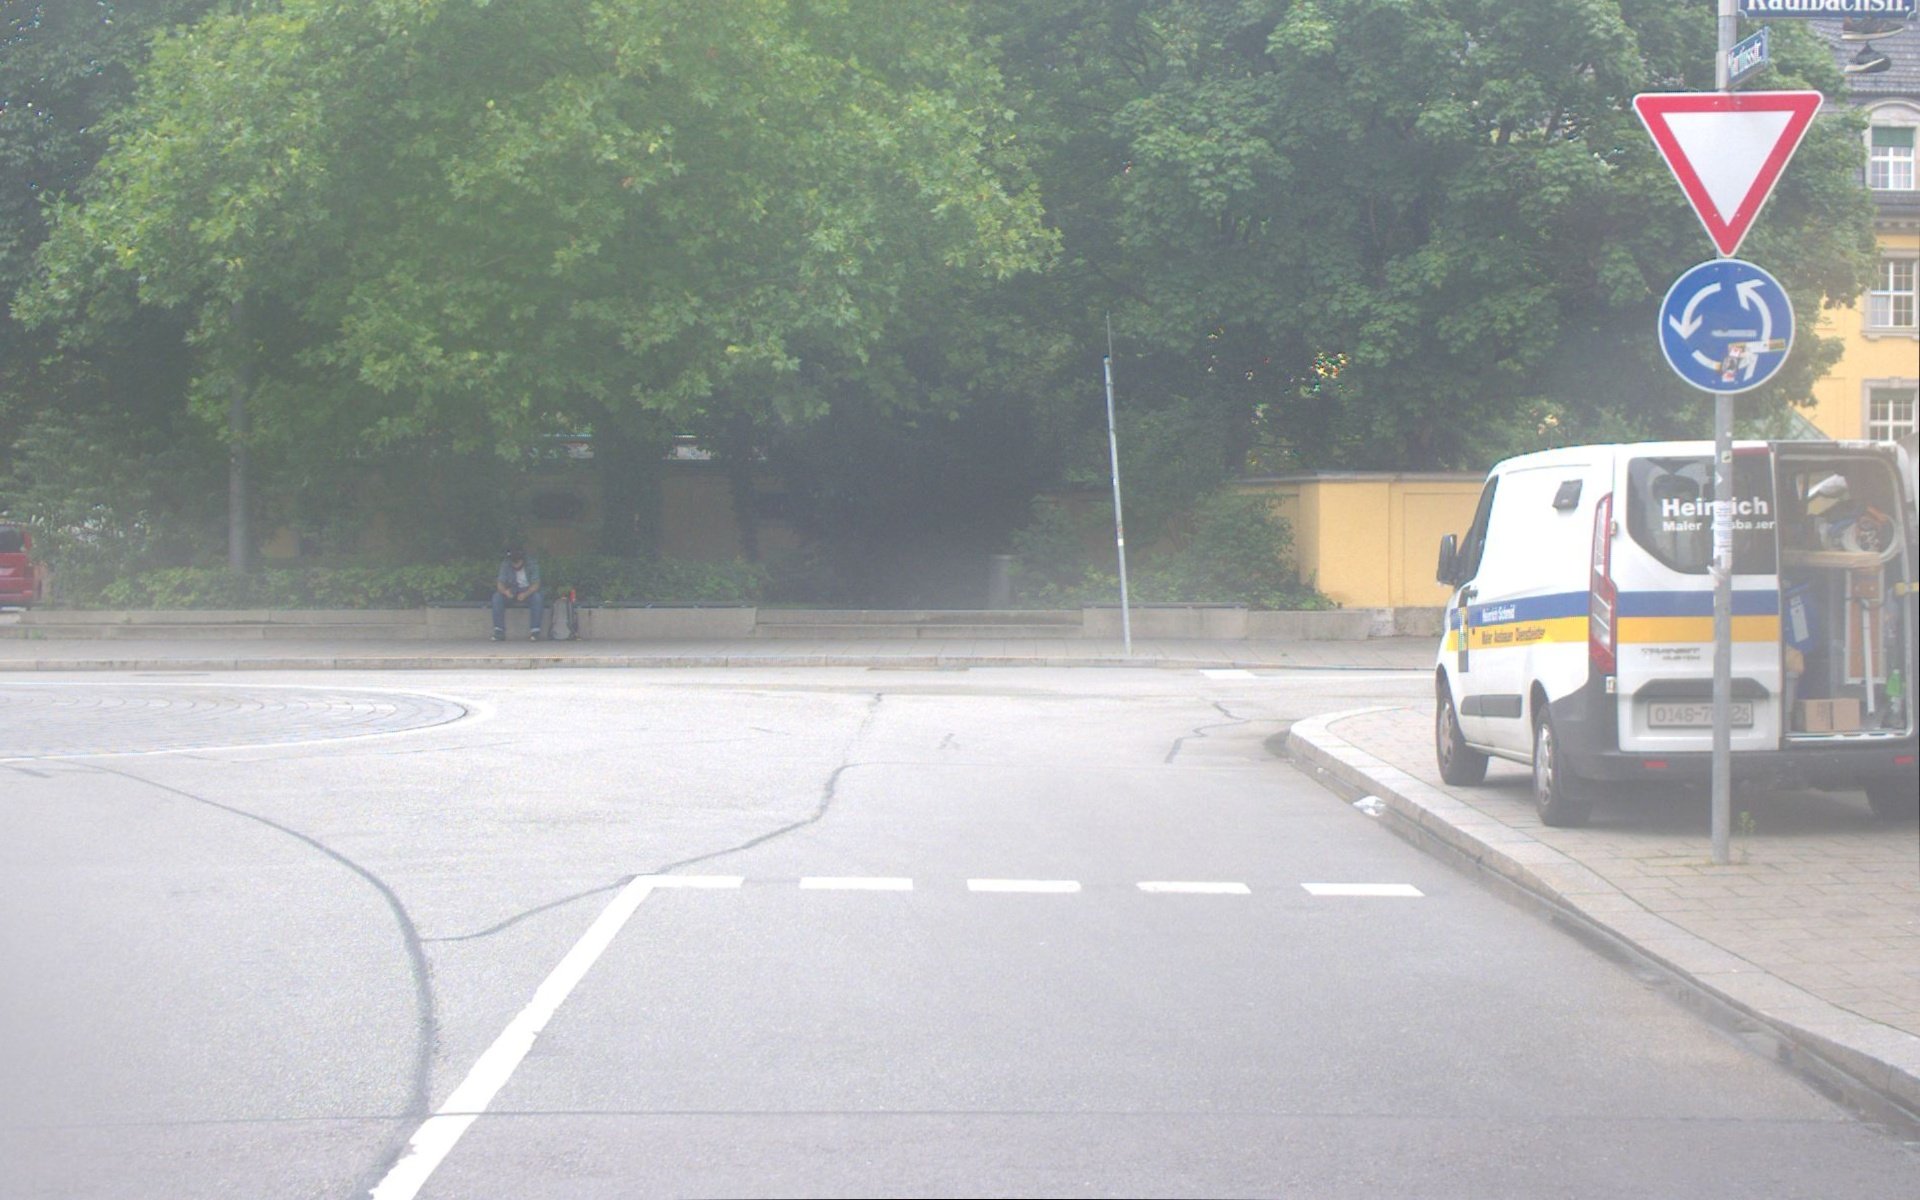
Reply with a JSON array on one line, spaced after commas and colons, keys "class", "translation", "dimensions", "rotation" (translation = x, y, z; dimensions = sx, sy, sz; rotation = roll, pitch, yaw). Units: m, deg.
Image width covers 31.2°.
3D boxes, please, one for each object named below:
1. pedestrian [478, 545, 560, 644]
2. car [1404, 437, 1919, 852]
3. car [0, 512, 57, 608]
[{"class": "pedestrian", "translation": [-5.352, -0.077, 41.798], "dimensions": [0.812, 1.185, 0.919], "rotation": [0, 1, 5]}, {"class": "car", "translation": [3.815, 0.155, 18.896], "dimensions": [1.915, 1.955, 4.928], "rotation": [-1, 1, -2]}, {"class": "car", "translation": [-19.860, -0.848, 71.117], "dimensions": [2.040, 1.916, 4.447], "rotation": [0, 1, -12]}]
